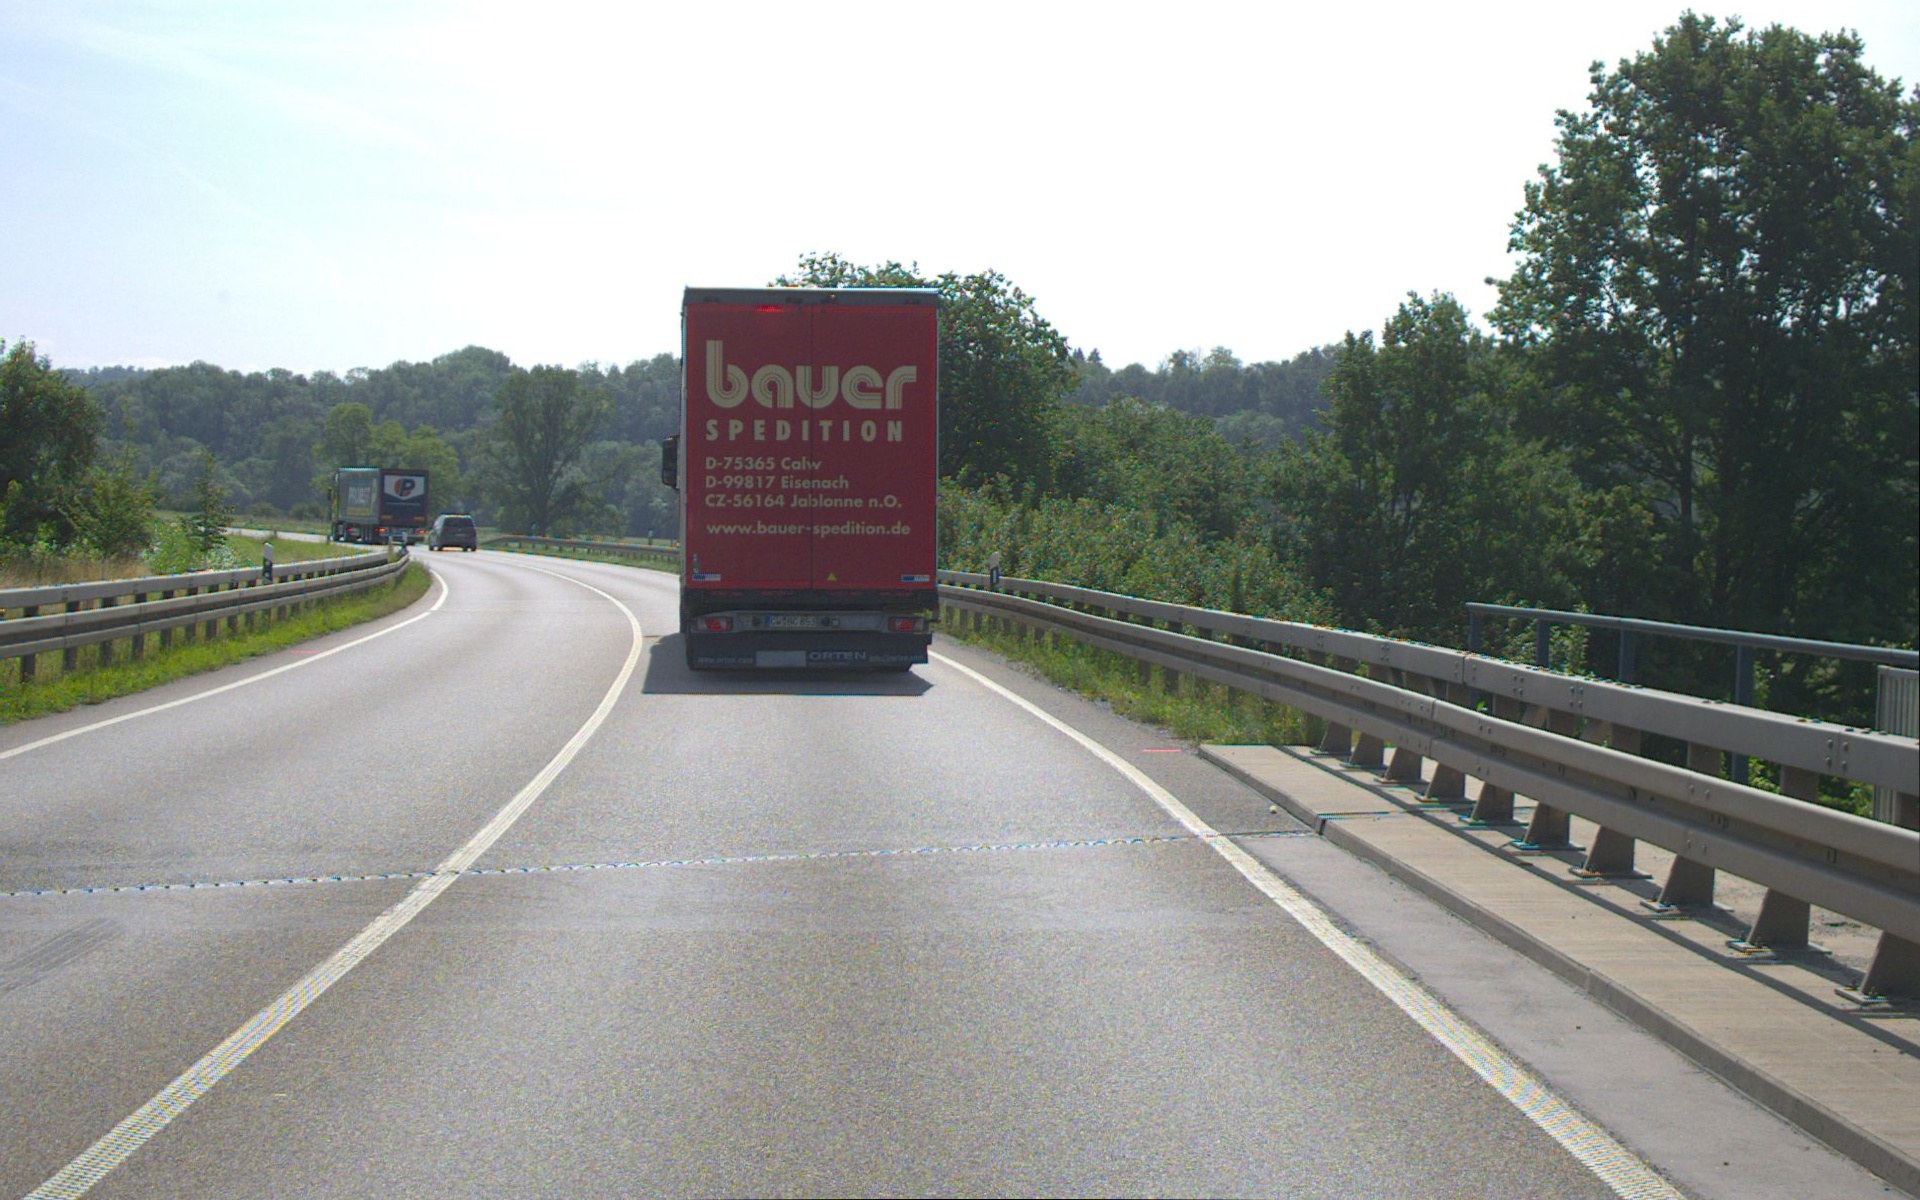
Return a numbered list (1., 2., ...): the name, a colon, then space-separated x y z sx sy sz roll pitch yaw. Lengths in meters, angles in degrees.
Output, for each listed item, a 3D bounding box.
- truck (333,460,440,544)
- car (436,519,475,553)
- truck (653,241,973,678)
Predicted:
1. truck: -30.824 -5.210 184.299 3.639 4.277 11.989 0 1 -19
2. car: -23.304 -2.957 158.854 1.581 1.496 3.878 1 2 -11
3. truck: -1.687 -1.473 37.942 3.094 4.248 8.316 1 1 -3
